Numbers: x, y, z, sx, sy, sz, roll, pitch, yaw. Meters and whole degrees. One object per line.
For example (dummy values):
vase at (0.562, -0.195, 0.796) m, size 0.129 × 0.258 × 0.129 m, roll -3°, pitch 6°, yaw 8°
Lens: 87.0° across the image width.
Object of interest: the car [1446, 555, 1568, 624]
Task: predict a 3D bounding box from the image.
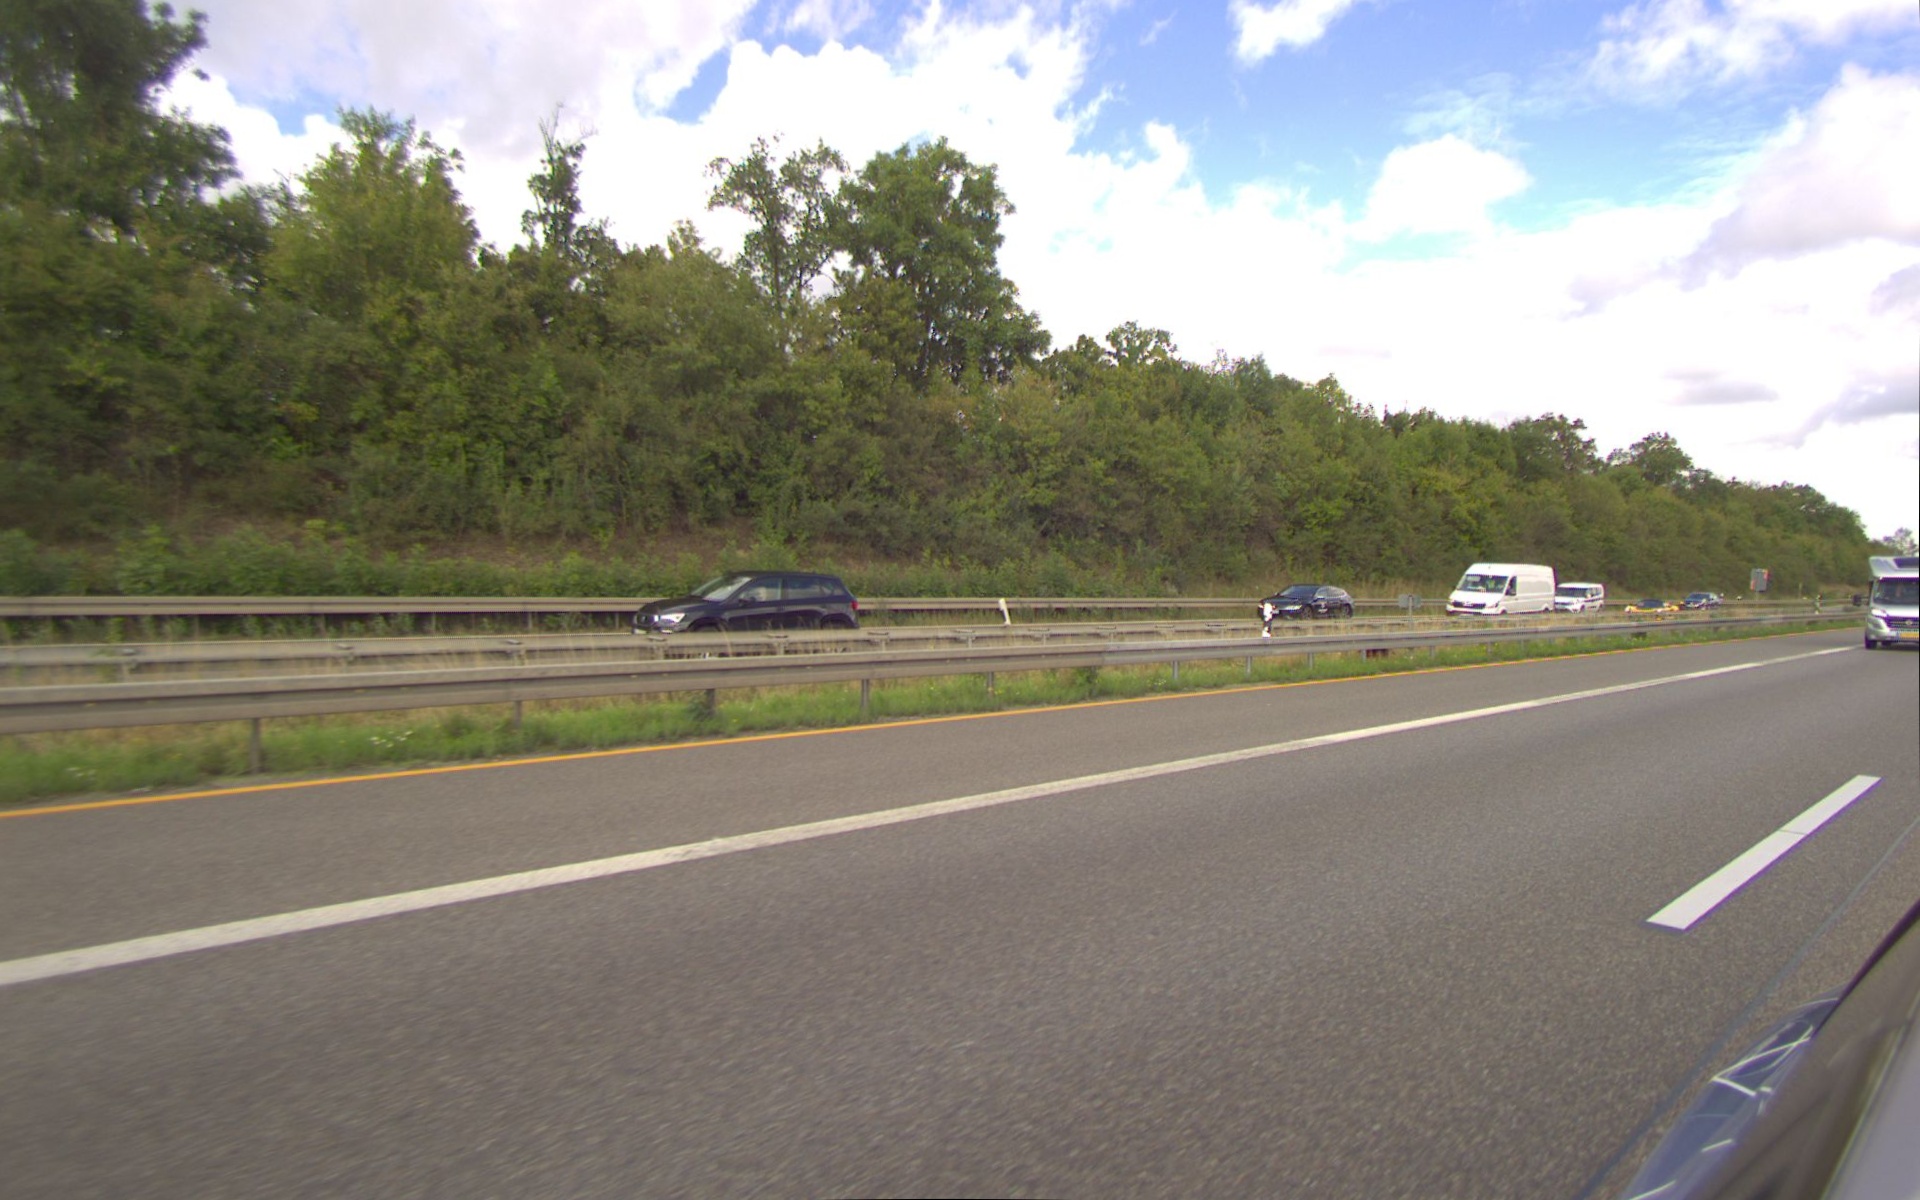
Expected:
car at (22.150, -0.427, 40.831) m, size 6.624 × 2.586 × 2.074 m, roll 0°, pitch 1°, yaw -41°

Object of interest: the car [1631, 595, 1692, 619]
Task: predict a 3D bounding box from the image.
car at (37.126, 0.349, 53.525) m, size 4.096 × 1.196 × 1.715 m, roll 0°, pitch 0°, yaw -41°

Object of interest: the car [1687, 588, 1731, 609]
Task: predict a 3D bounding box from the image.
car at (54.570, -0.099, 73.724) m, size 4.095 × 1.433 × 1.715 m, roll 0°, pitch 1°, yaw -40°

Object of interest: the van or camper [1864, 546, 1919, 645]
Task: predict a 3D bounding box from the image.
van or camper at (29.526, -0.137, 30.500) m, size 7.527 × 2.756 × 2.473 m, roll 0°, pitch 0°, yaw -41°

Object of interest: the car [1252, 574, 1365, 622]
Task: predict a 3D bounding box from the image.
car at (13.029, -0.102, 37.684) m, size 4.681 × 1.622 × 1.847 m, roll 0°, pitch 3°, yaw -41°

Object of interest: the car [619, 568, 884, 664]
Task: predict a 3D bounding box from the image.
car at (-3.750, 0.244, 18.654) m, size 4.446 × 1.502 × 1.847 m, roll 0°, pitch 3°, yaw -41°

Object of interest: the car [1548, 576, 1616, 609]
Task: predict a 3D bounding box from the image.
car at (34.783, -0.386, 56.550) m, size 4.680 × 1.774 × 1.847 m, roll 0°, pitch 0°, yaw -40°
